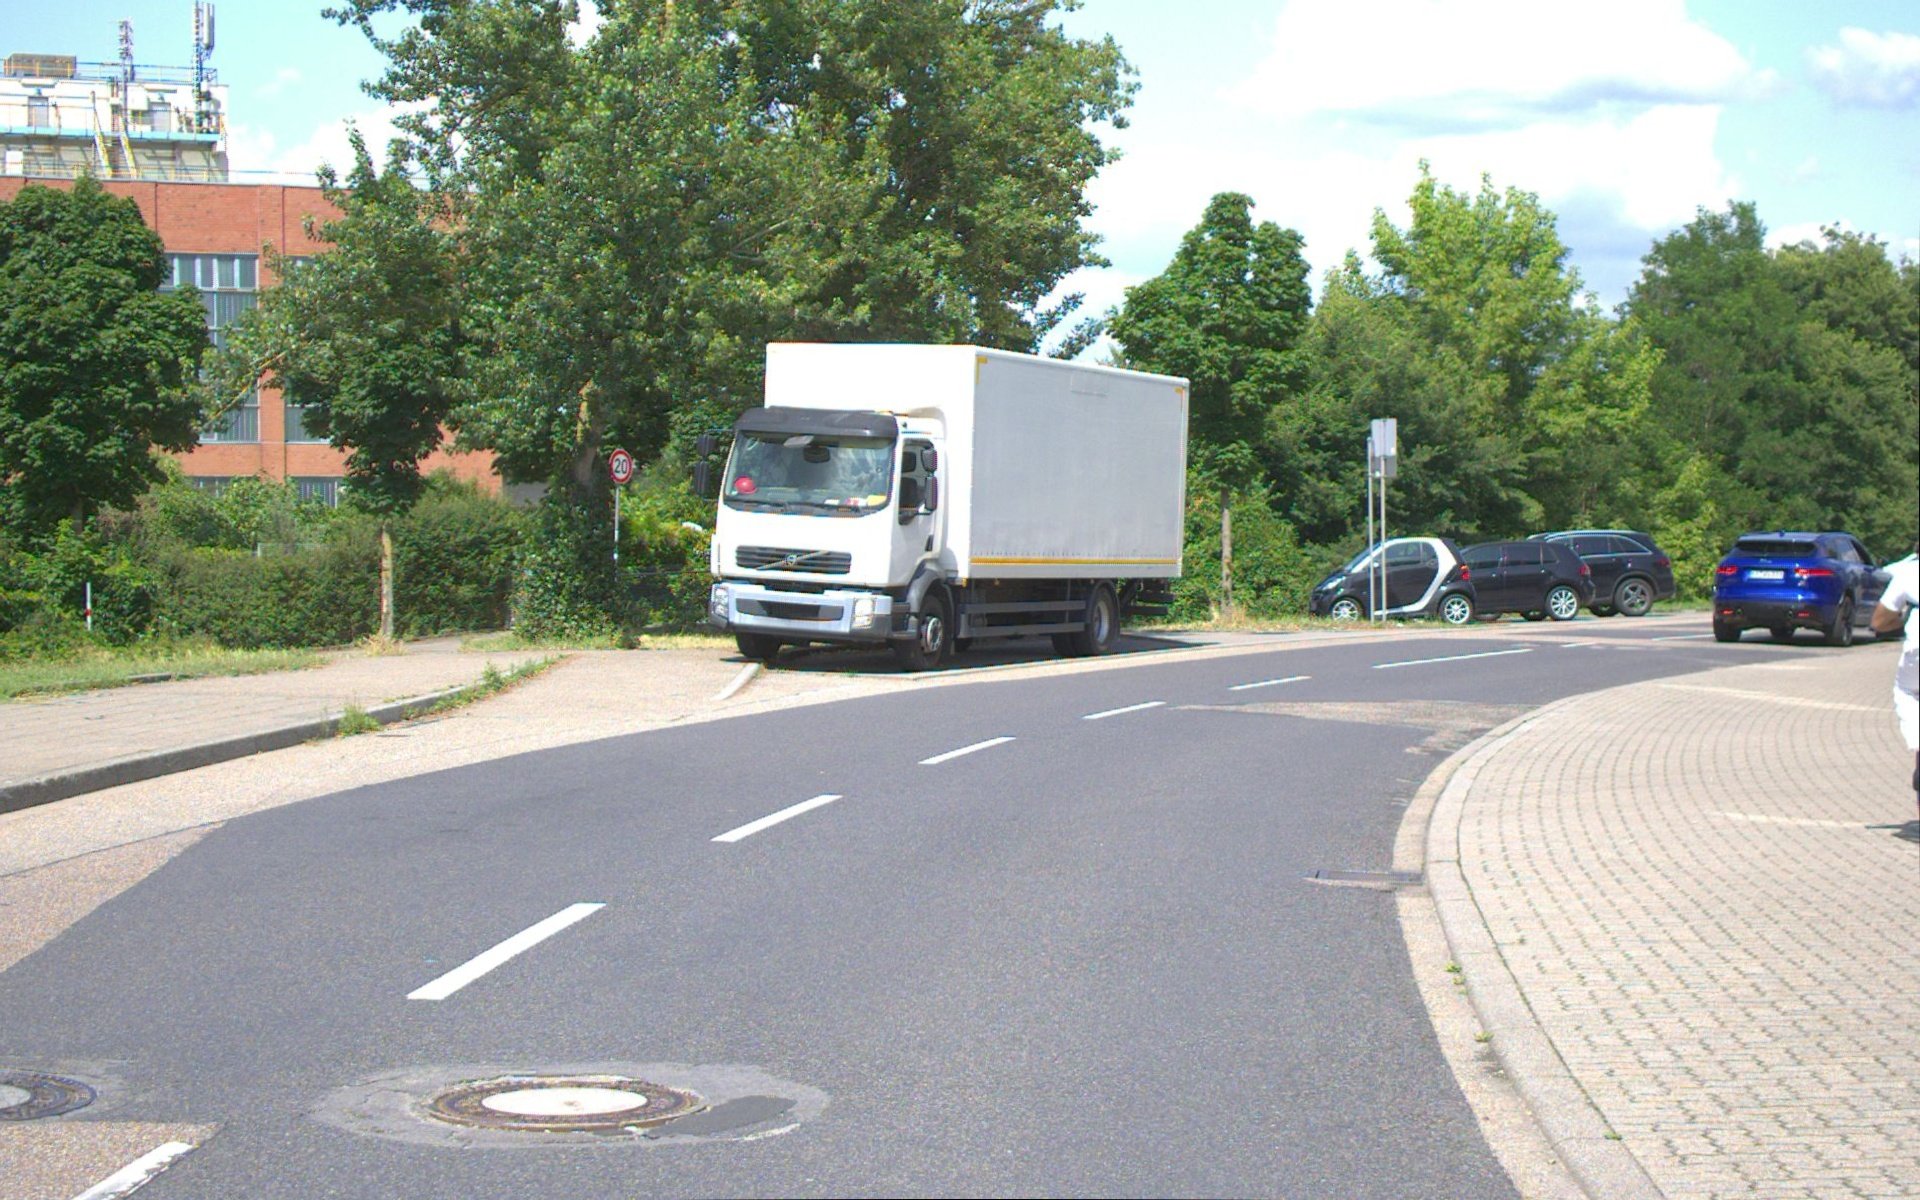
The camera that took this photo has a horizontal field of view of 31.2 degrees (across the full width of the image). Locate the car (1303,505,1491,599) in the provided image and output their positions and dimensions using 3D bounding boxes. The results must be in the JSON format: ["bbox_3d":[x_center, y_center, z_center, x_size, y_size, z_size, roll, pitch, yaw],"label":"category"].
[{"bbox_3d":[7.432,-0.816,58.657,2.897,1.564,1.890,0,0,-3],"label":"car"}]

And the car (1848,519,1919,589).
[{"bbox_3d":[22.375,-1.040,78.345,4.048,1.564,1.741,0,0,12],"label":"car"}]

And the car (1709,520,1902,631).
[{"bbox_3d":[12.707,-0.379,51.496,1.912,1.588,4.695,1,1,25],"label":"car"}]

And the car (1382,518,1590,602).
[{"bbox_3d":[9.426,-0.730,61.706,3.322,1.470,1.705,0,1,-11],"label":"car"}]

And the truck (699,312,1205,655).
[{"bbox_3d":[0.184,-1.373,40.391,2.324,3.555,9.356,2,2,23],"label":"truck"}]

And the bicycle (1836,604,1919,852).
[{"bbox_3d":[4.877,0.597,17.040,0.666,1.105,2.167,0,1,4],"label":"bicycle"}]

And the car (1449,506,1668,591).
[{"bbox_3d":[11.267,-0.956,64.796,3.627,1.564,1.890,0,0,-10],"label":"car"}]

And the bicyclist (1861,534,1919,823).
[{"bbox_3d":[4.864,0.371,16.967,0.663,1.393,0.858,0,1,5],"label":"bicyclist"}]
